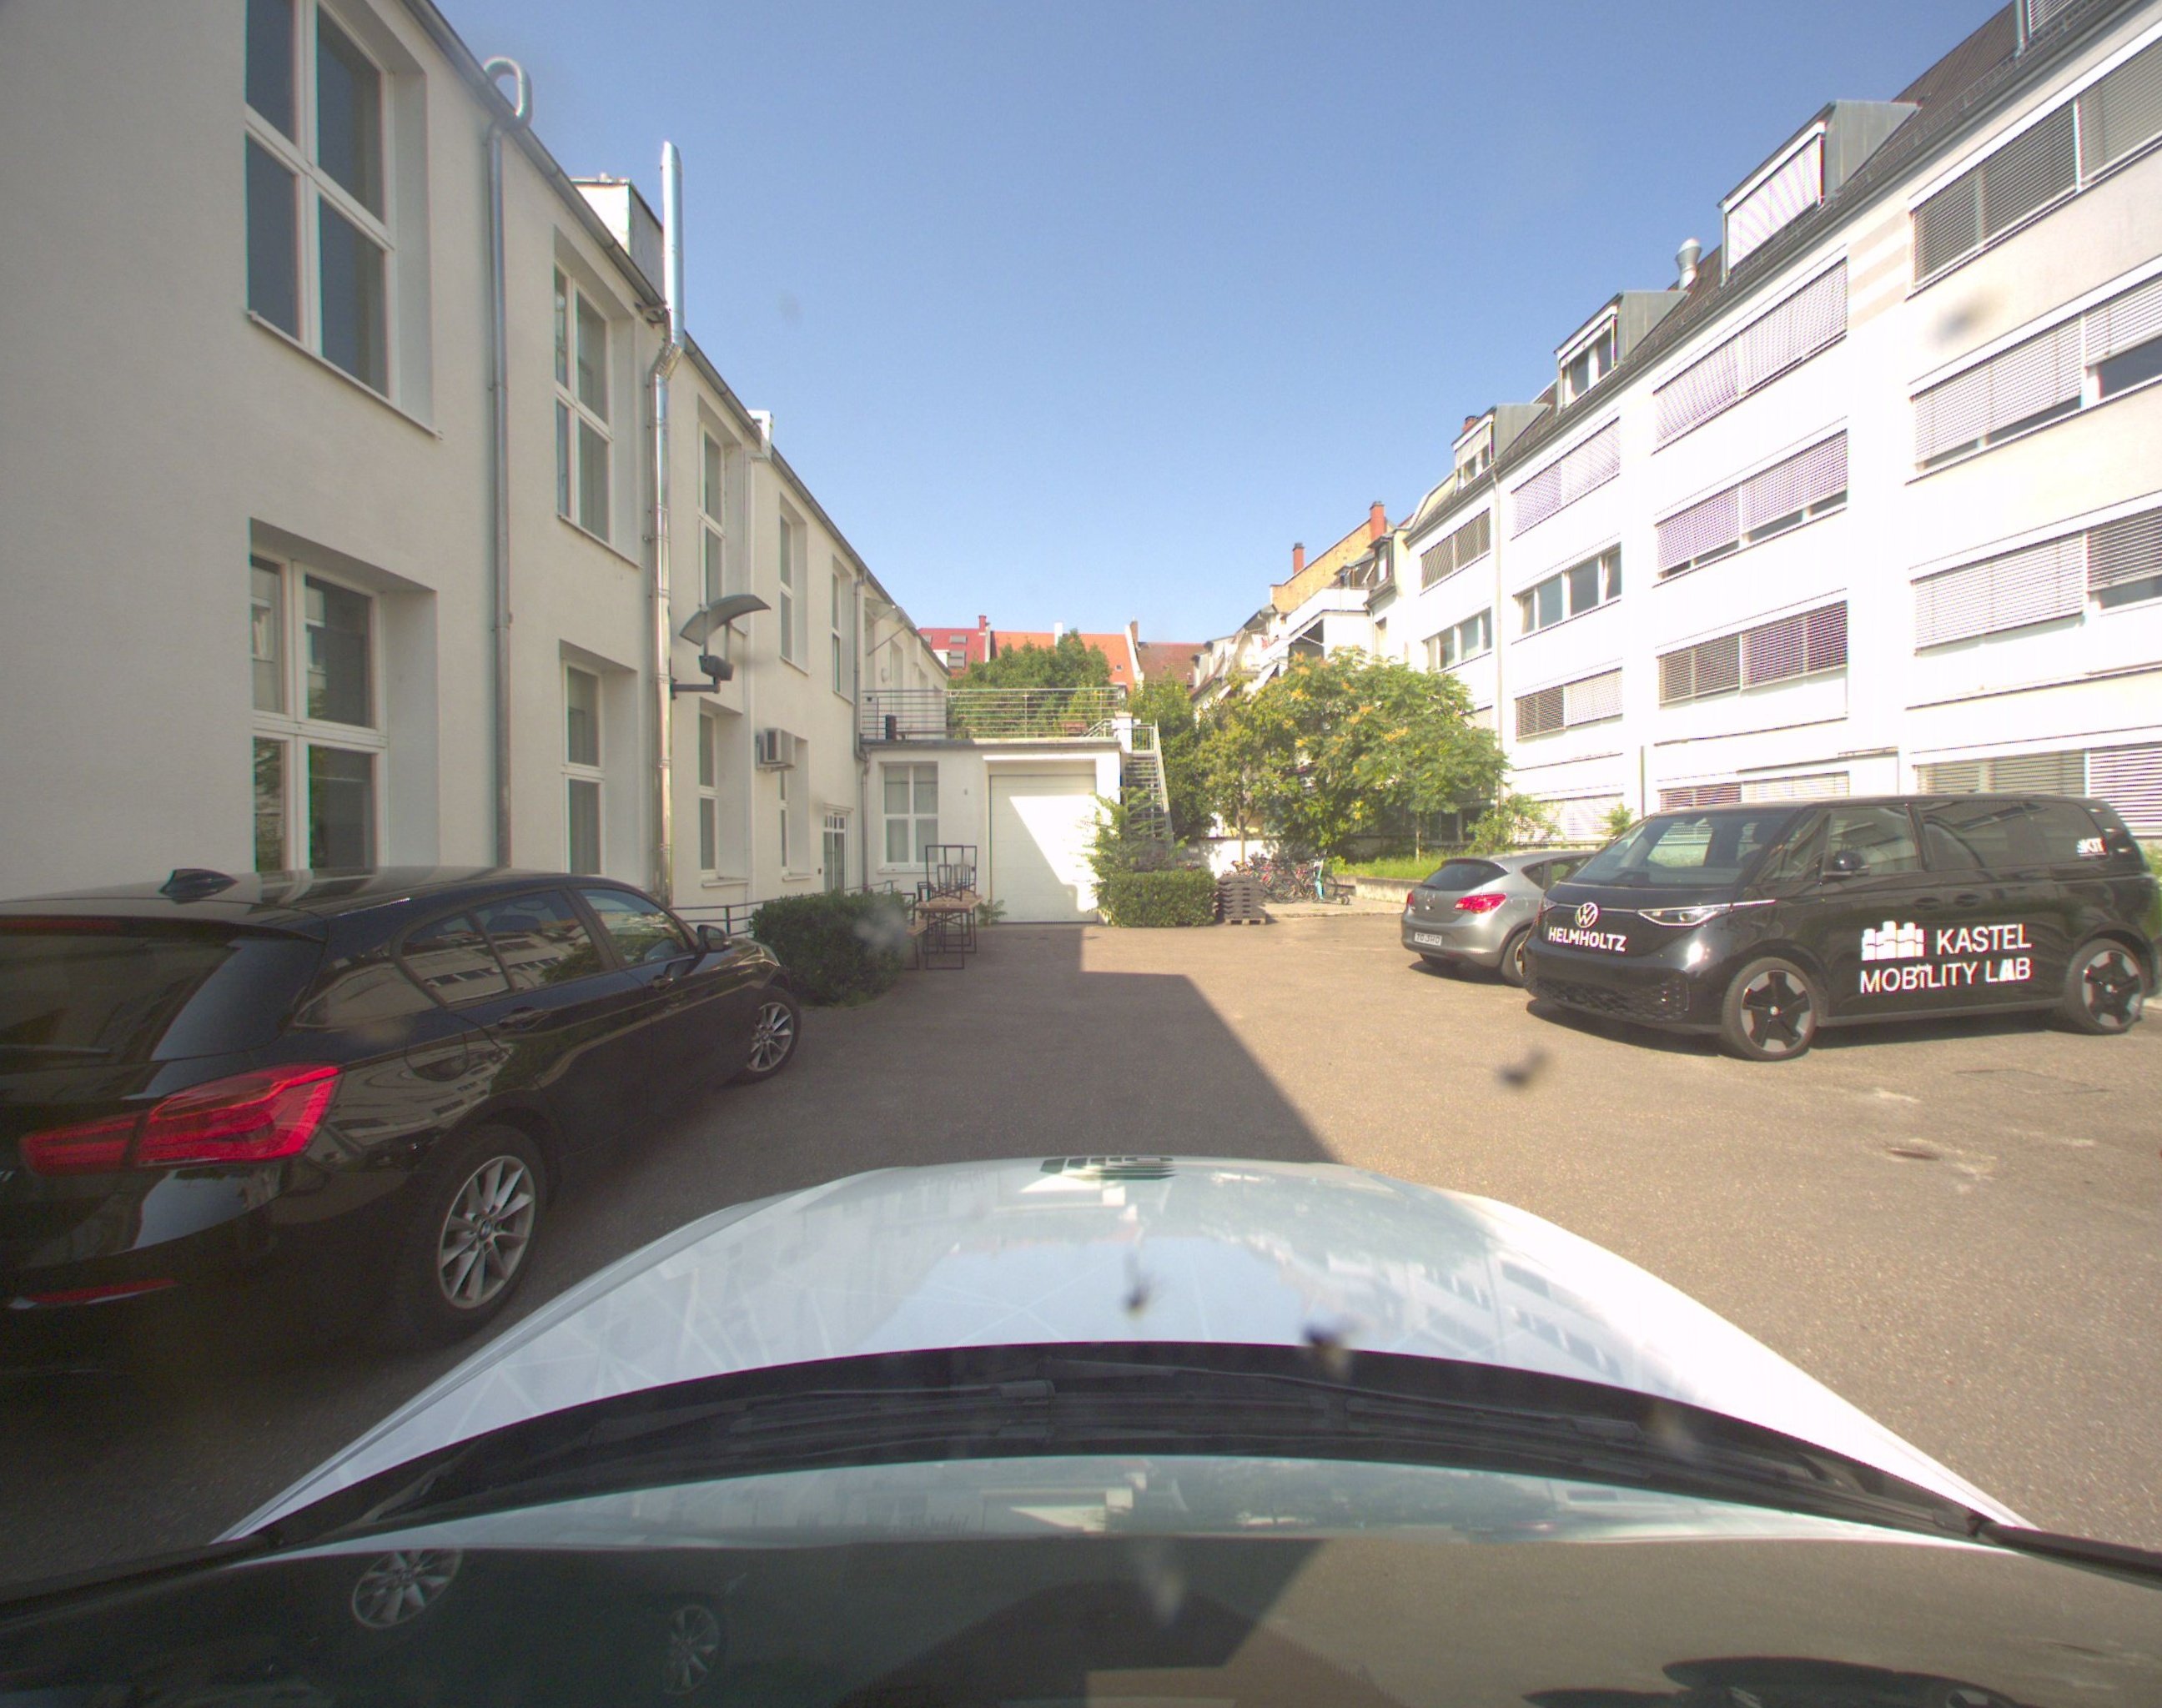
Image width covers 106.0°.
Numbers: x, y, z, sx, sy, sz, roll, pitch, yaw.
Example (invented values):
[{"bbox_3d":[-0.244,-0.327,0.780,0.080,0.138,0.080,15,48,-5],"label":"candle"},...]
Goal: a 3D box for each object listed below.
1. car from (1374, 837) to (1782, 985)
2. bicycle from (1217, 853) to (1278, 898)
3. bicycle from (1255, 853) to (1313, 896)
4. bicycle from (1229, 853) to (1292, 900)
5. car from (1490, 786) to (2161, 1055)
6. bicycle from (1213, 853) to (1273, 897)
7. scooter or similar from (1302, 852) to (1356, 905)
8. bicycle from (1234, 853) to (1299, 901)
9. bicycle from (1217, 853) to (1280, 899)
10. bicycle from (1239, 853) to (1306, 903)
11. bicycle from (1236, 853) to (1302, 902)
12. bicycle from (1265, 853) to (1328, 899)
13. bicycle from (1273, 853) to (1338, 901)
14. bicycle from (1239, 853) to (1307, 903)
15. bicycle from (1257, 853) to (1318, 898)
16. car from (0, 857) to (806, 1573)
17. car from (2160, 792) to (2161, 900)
[{"bbox_3d":[5.760,0.600,9.672,3.931,1.482,1.769,-1,-1,-9],"label":"car"},{"bbox_3d":[4.706,0.607,23.101,1.620,1.214,0.423,-2,0,-6],"label":"bicycle"},{"bbox_3d":[5.916,0.603,23.792,1.612,1.214,0.425,-1,0,12],"label":"bicycle"},{"bbox_3d":[4.798,0.601,21.790,1.612,1.214,0.328,-1,0,13],"label":"bicycle"},{"bbox_3d":[6.065,0.427,6.789,4.499,1.794,1.877,-1,-1,-9],"label":"car"},{"bbox_3d":[4.706,0.609,23.703,1.620,1.214,0.423,-2,0,-5],"label":"bicycle"},{"bbox_3d":[6.116,0.594,20.118,0.381,1.261,1.335,-1,0,-31],"label":"scooter or similar"},{"bbox_3d":[4.872,0.599,21.426,1.613,1.214,0.328,-1,0,10],"label":"bicycle"},{"bbox_3d":[4.616,0.605,22.466,1.618,1.214,0.424,-2,0,-1],"label":"bicycle"},{"bbox_3d":[4.859,0.597,20.681,1.617,1.214,0.327,-2,0,1],"label":"bicycle"},{"bbox_3d":[4.833,0.598,20.975,1.617,1.214,0.327,-2,0,1],"label":"bicycle"},{"bbox_3d":[5.857,0.598,22.189,1.612,1.214,0.425,-1,0,13],"label":"bicycle"},{"bbox_3d":[5.872,0.594,21.329,1.611,1.214,0.328,-1,0,15],"label":"bicycle"},{"bbox_3d":[4.790,0.596,20.359,1.617,1.214,0.327,-2,0,1],"label":"bicycle"},{"bbox_3d":[5.765,0.600,22.765,1.612,1.214,0.425,-1,0,12],"label":"bicycle"},{"bbox_3d":[-2.701,0.749,3.615,1.683,1.459,3.921,0,0,-1],"label":"car"},{"bbox_3d":[6.547,0.576,2.586,4.107,1.691,1.769,0,0,-3],"label":"car"}]
